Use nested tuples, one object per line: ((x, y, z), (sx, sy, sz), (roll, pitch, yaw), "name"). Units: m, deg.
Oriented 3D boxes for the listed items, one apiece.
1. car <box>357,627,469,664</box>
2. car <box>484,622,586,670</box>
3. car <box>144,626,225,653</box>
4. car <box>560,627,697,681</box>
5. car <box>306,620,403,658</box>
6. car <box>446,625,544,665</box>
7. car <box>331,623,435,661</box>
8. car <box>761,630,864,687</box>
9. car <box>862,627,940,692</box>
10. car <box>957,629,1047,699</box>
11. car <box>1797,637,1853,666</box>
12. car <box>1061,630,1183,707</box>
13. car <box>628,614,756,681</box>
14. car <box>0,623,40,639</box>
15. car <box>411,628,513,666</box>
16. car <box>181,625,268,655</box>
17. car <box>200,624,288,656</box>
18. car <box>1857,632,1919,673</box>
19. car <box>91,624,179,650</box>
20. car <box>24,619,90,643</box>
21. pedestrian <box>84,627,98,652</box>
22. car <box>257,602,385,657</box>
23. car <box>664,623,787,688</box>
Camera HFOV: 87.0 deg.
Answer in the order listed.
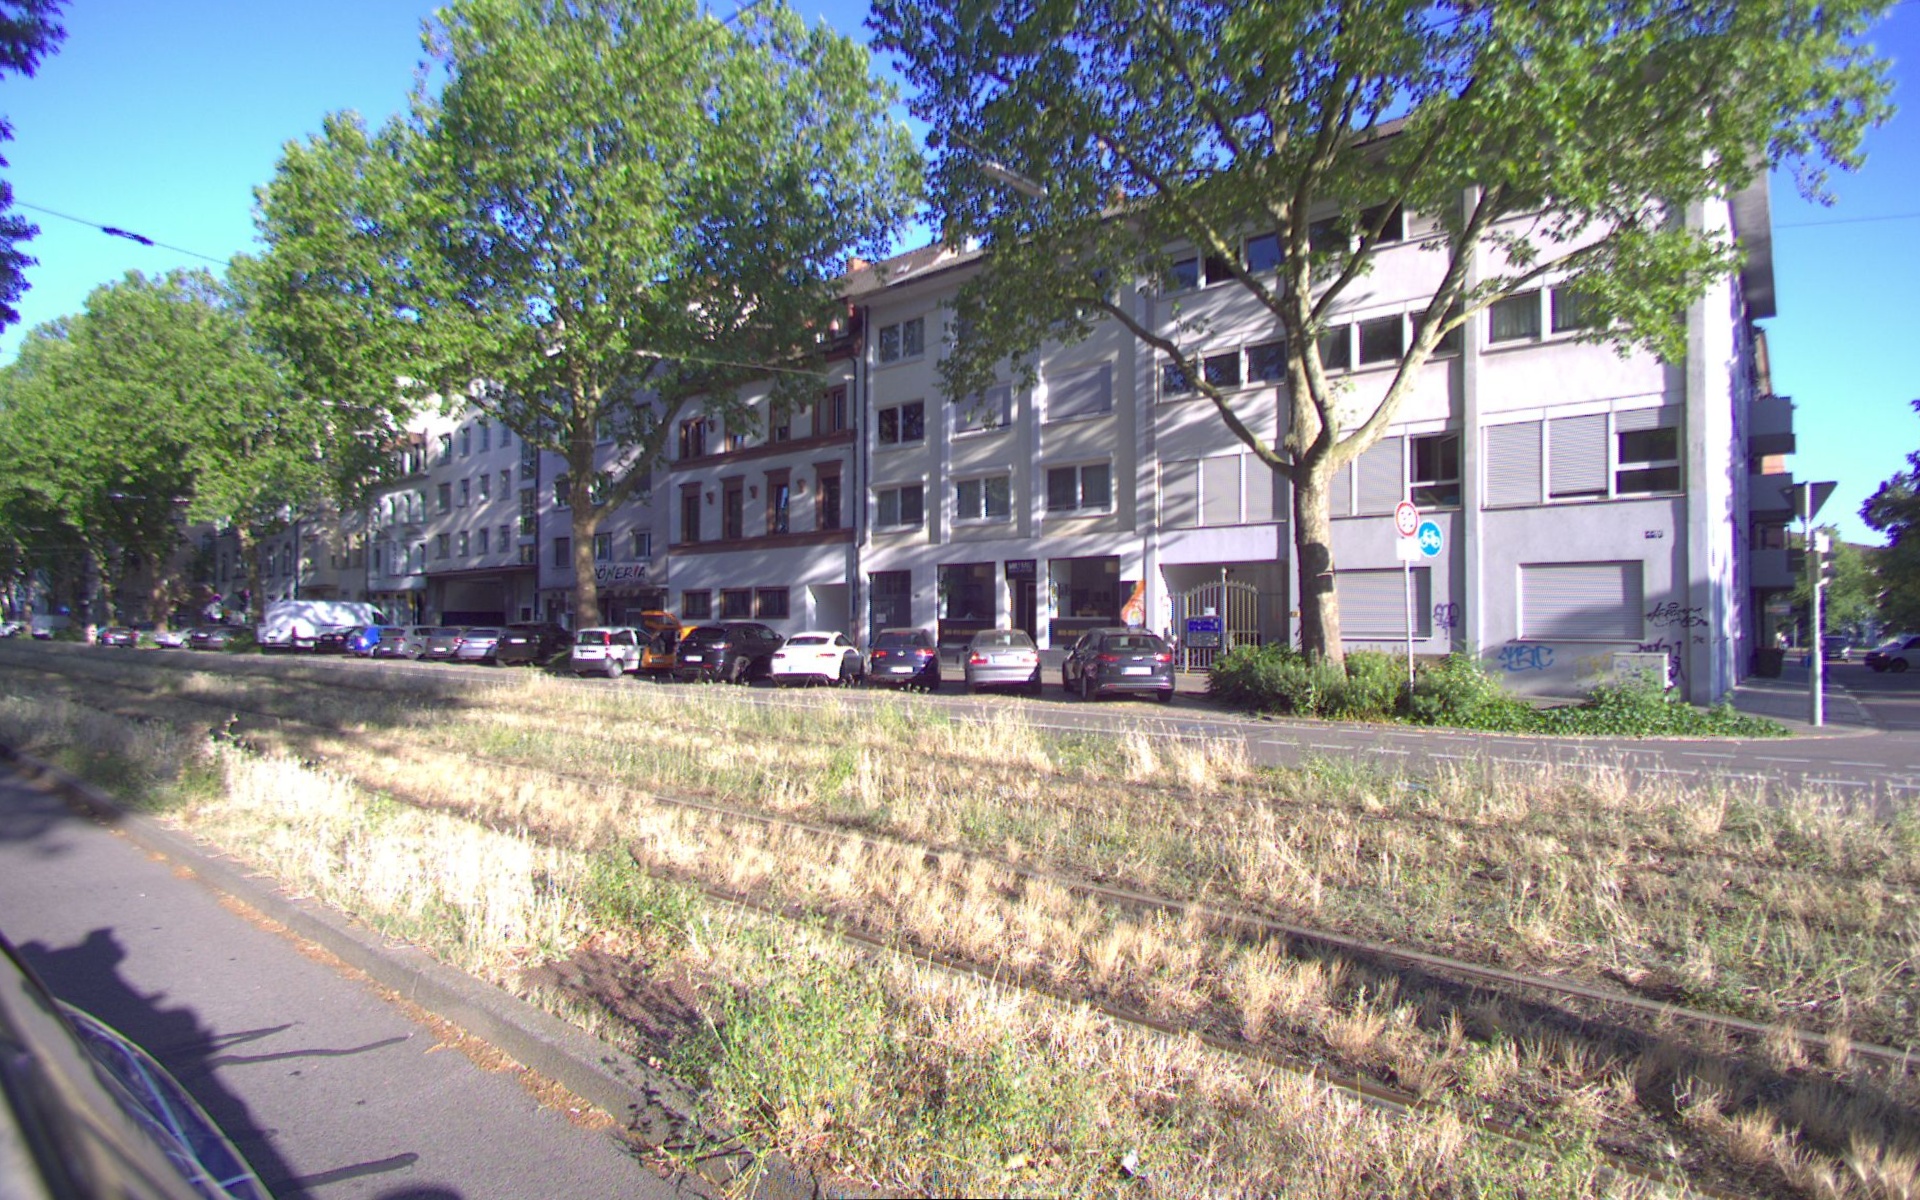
((-23.838, 1.953, 44.255), (1.985, 1.530, 3.973), (0, -2, 20), "car")
((-15.437, 1.651, 36.999), (1.881, 1.626, 4.255), (0, -2, 1), "car")
((-51.704, 2.613, 67.559), (1.980, 1.719, 3.982), (0, -2, 13), "car")
((-10.264, 1.626, 31.655), (1.634, 1.569, 4.221), (-1, -2, 25), "car")
((-30.583, 1.965, 51.239), (1.980, 1.830, 3.982), (0, -2, 13), "car")
((-18.036, 1.708, 39.462), (1.582, 1.470, 4.251), (0, -2, 4), "car")
((-26.267, 1.901, 46.226), (1.980, 1.630, 3.982), (0, -2, 13), "car")
((-3.777, 1.483, 26.707), (2.123, 1.388, 4.257), (0, -2, 0), "car")
((-1.466, 1.452, 25.663), (1.805, 1.516, 3.973), (0, -2, -2), "car")
((0.873, 1.402, 23.274), (1.717, 1.443, 3.973), (-1, -2, -2), "car")
((62.923, 3.712, 73.682), (1.991, 2.029, 5.371), (-1, -2, 29), "car")
((3.276, 1.361, 21.182), (1.746, 1.443, 3.973), (0, -2, -2), "car")
((-8.286, 1.441, 31.676), (1.508, 1.958, 4.221), (-1, -2, 25), "car")
((-106.719, 3.519, 114.330), (3.937, 1.827, 1.876), (2, -2, -40), "car")
((-20.447, 1.897, 41.774), (1.883, 1.468, 4.251), (0, -2, 4), "car")
((-45.128, 2.439, 62.212), (1.980, 1.830, 3.982), (0, -2, 13), "car")
((-42.533, 2.384, 60.218), (1.980, 1.830, 3.982), (0, -2, 13), "car")
((49.219, 2.632, 51.179), (5.372, 2.029, 1.991), (0, -2, 14), "car")
((-54.970, 2.454, 67.487), (1.996, 1.719, 4.184), (-1, -2, 36), "car")
((-88.302, 3.030, 99.050), (2.071, 2.230, 4.943), (0, -2, -2), "car")
((-56.370, 2.544, 65.618), (0.422, 1.610, 0.612), (-1, -2, 41), "pedestrian")
((-33.074, 1.522, 52.605), (2.161, 2.721, 5.583), (0, -2, 16), "car")
((-6.483, 1.509, 28.521), (2.126, 1.697, 4.250), (0, -2, 6), "car")
